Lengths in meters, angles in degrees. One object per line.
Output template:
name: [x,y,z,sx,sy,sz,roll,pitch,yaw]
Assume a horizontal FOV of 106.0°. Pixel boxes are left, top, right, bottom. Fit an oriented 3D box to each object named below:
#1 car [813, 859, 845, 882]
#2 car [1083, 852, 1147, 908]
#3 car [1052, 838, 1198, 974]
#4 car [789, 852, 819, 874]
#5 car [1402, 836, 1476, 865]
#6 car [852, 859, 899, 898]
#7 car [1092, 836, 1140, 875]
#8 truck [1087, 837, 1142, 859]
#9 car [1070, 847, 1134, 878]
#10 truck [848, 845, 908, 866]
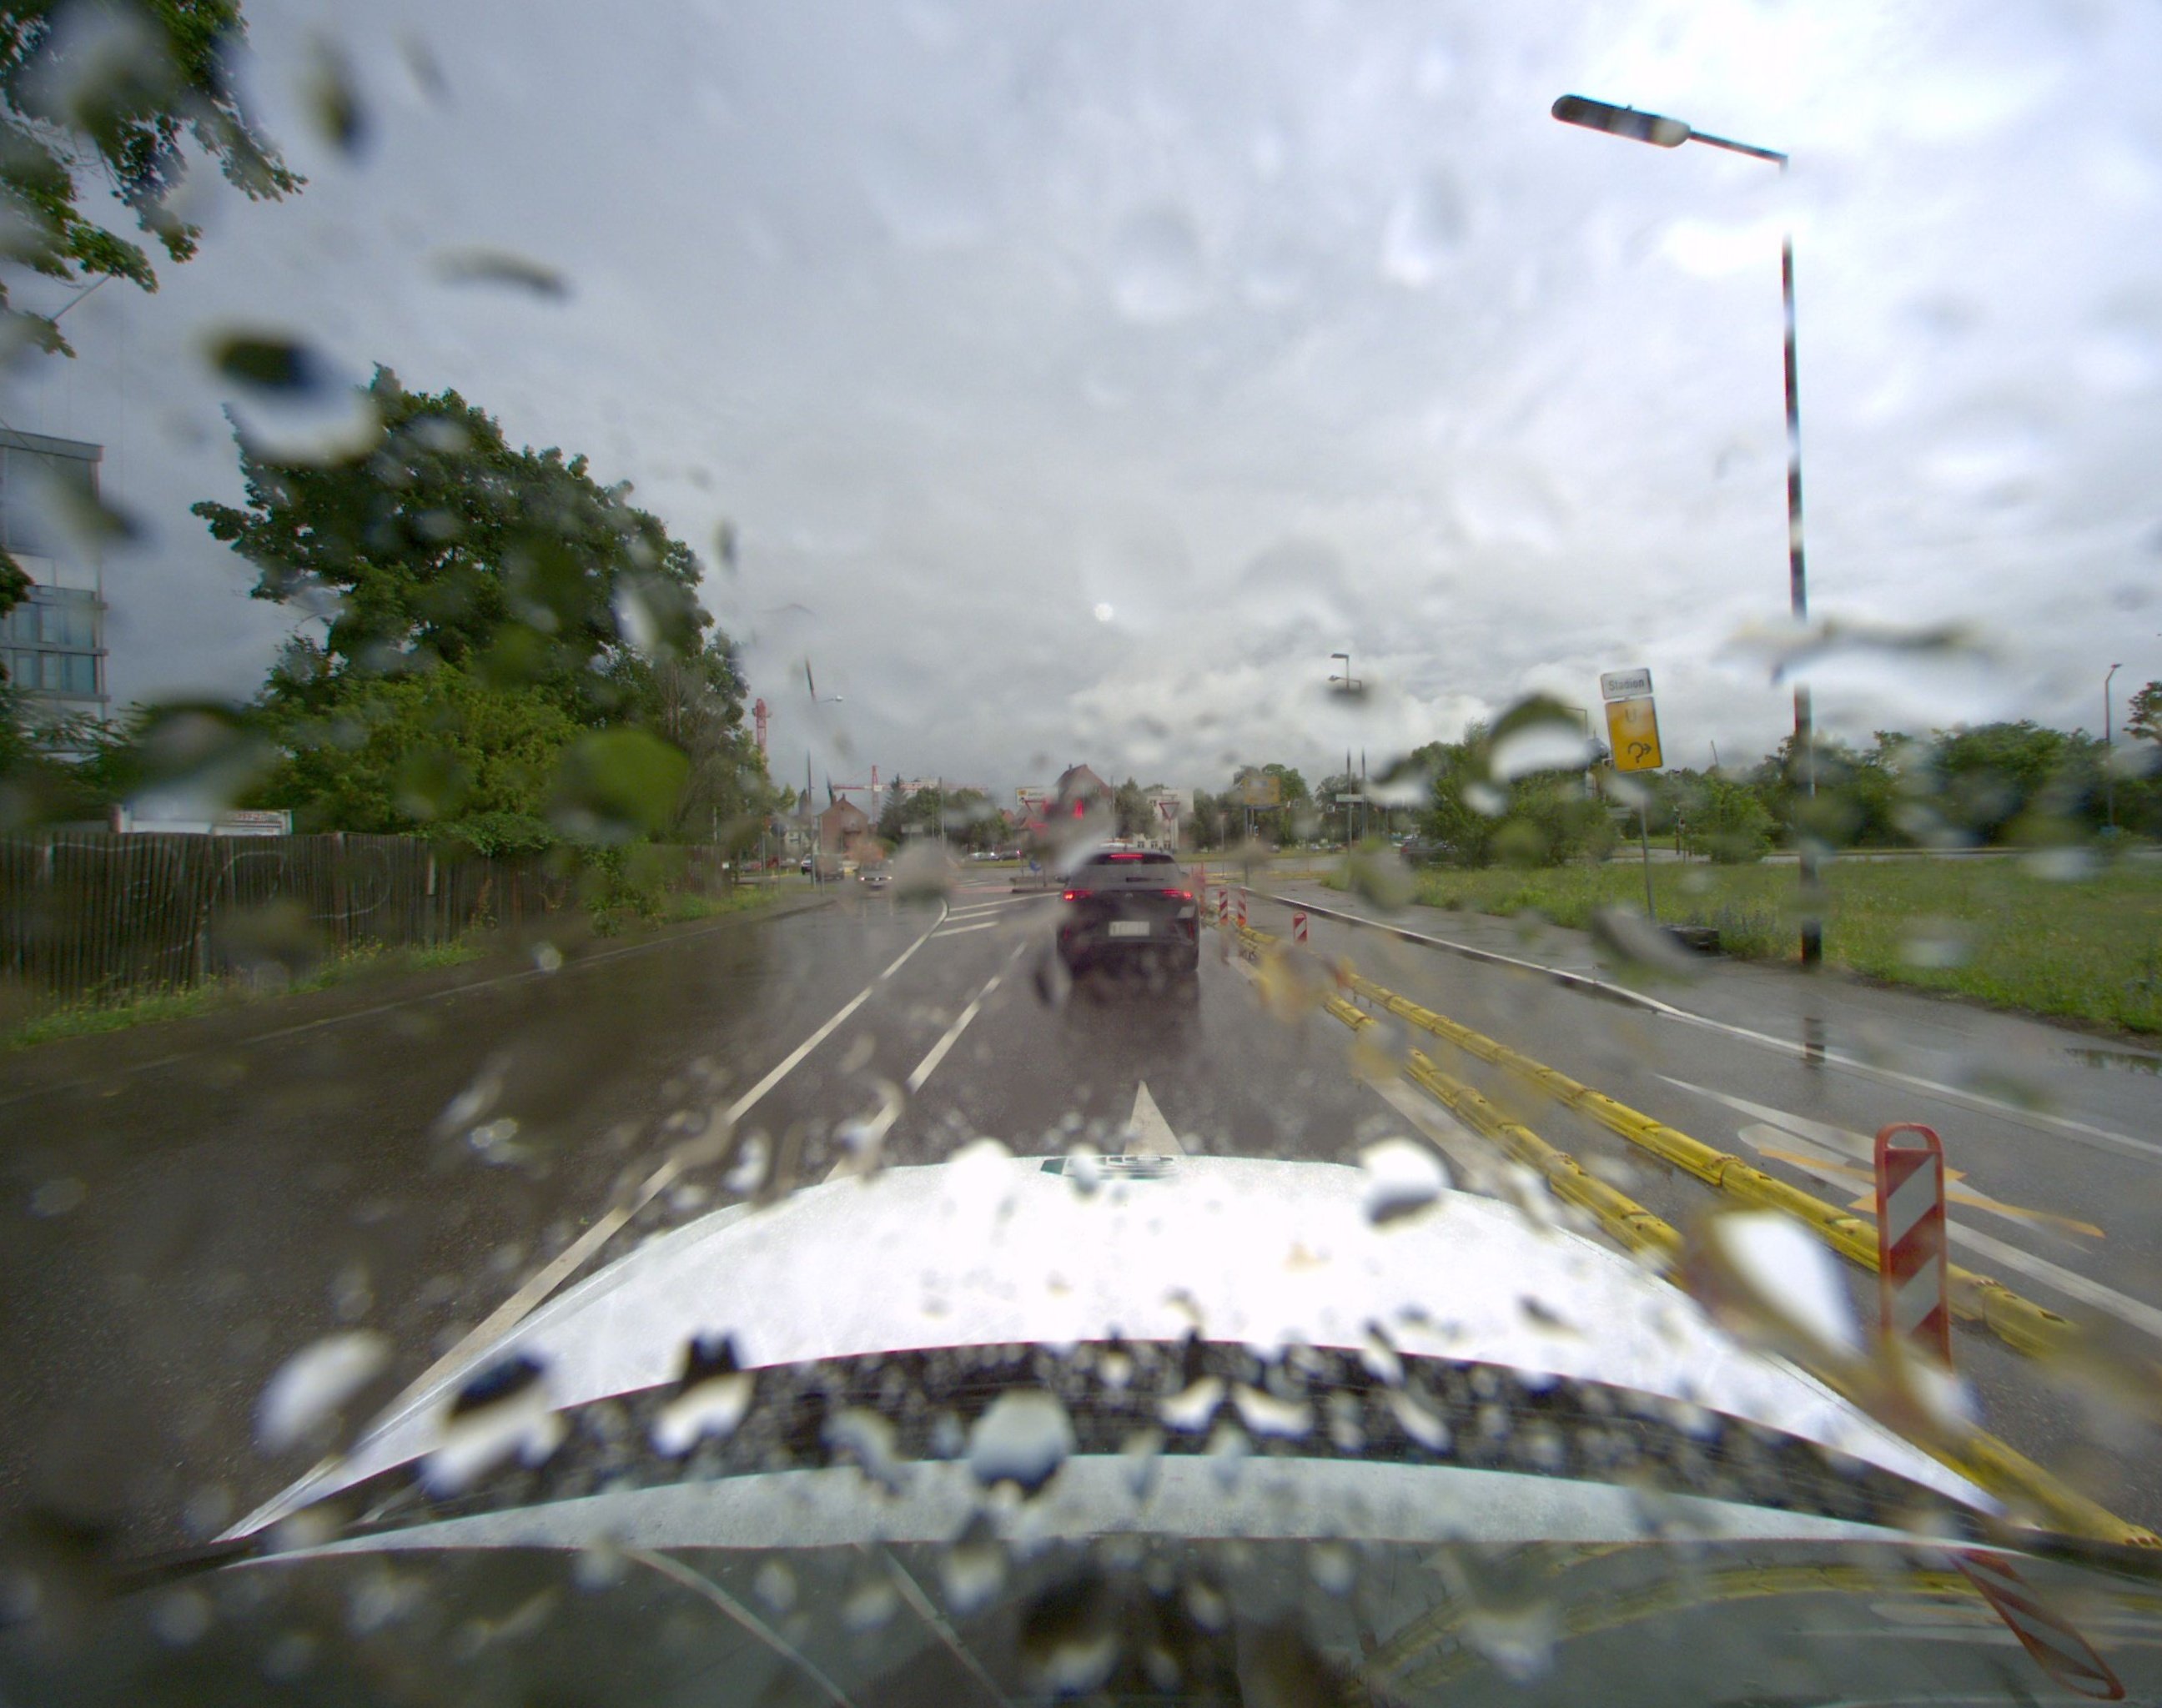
car: [-17.733,1.176,57.173,1.881,1.482,4.149,-2,0,-20]
car: [0.968,0.722,24.759,1.730,1.514,3.603,-1,0,-1]
car: [0.477,0.613,11.445,1.704,1.574,3.680,-1,0,-2]
car: [-25.612,0.810,75.497,1.889,1.876,5.113,-2,0,-11]
car: [21.477,-0.223,49.023,3.909,1.644,1.679,-1,0,19]
car: [-9.371,1.075,36.933,1.785,1.552,4.400,-5,1,-17]
car: [1.809,0.052,40.558,1.853,1.809,4.415,-1,0,9]
truck: [4.350,-0.727,105.516,7.041,2.650,2.330,-1,0,1]
car: [1.323,0.520,52.581,3.975,1.830,1.999,-2,0,-1]
truck: [-24.996,0.176,100.233,6.741,2.442,2.412,-2,0,-28]
